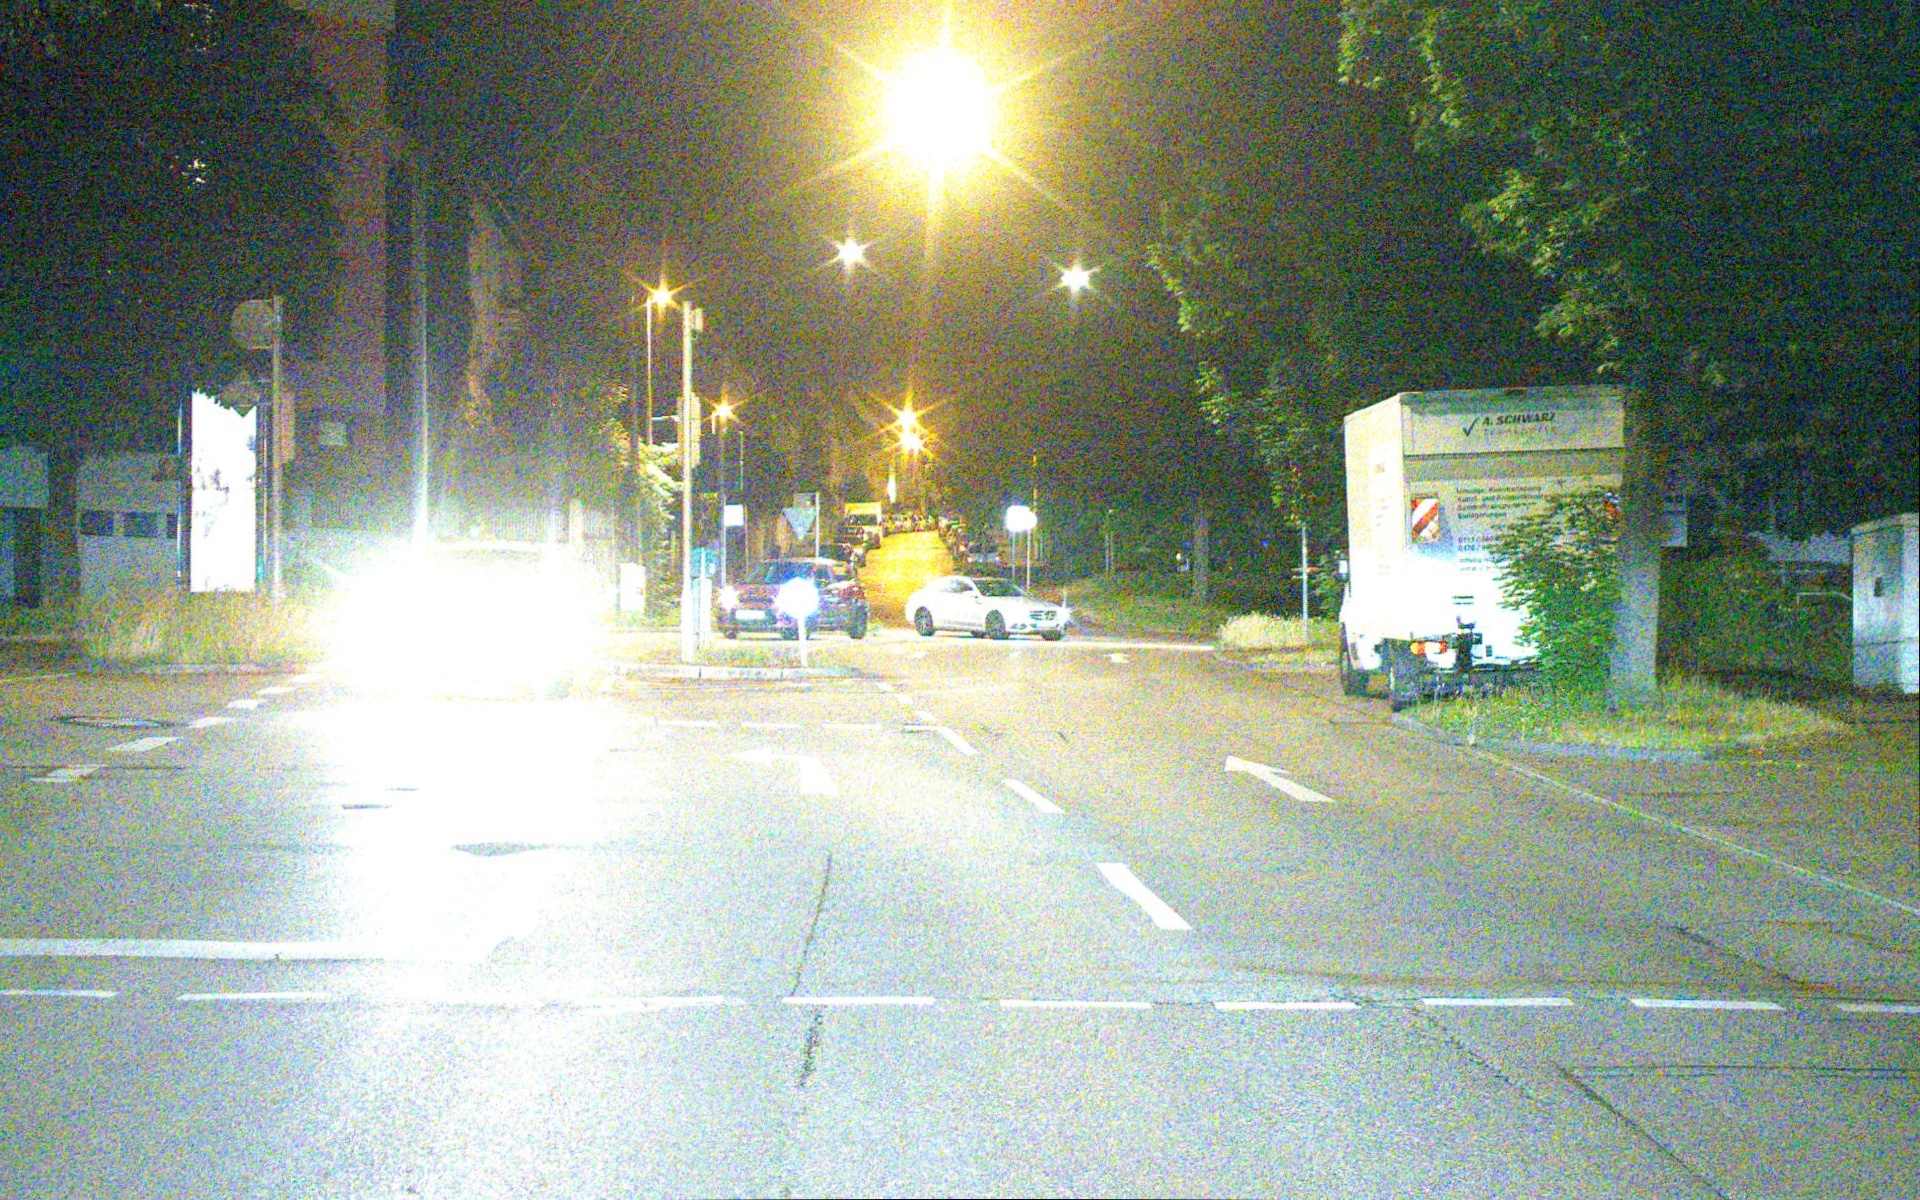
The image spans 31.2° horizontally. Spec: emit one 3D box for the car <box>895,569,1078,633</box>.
[{"bbox_3d":[0.576,0.012,79.664,1.917,1.384,4.582,0,1,-35],"label":"car"}]

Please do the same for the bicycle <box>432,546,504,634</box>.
[{"bbox_3d":[-6.574,-0.145,46.020,0.696,1.145,1.951,1,0,-1],"label":"bicycle"}]

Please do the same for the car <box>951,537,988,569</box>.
[{"bbox_3d":[0.424,-2.201,159.438,1.634,1.447,3.485,1,1,-1],"label":"car"}]

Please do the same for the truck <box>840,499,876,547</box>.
[{"bbox_3d":[-6.249,-4.694,209.736,2.086,2.838,5.832,1,1,-2],"label":"truck"}]

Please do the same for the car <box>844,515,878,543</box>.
[{"bbox_3d":[-5.402,-3.871,187.107,1.815,1.486,4.001,1,1,-2],"label":"car"}]

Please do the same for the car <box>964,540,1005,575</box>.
[{"bbox_3d":[1.001,-1.780,143.520,1.634,1.447,3.485,1,1,-1],"label":"car"}]

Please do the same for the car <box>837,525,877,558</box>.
[{"bbox_3d":[-4.819,-2.731,160.726,1.815,1.486,4.001,1,1,-2],"label":"car"}]

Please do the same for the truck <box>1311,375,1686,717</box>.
[{"bbox_3d":[5.258,-0.546,34.670,2.749,3.100,6.258,1,1,0],"label":"truck"}]

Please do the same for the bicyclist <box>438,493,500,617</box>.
[{"bbox_3d":[-6.558,-0.596,45.950,0.690,1.631,0.896,1,0,-1],"label":"bicyclist"}]

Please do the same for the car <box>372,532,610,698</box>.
[{"bbox_3d":[-4.610,0.106,34.315,1.857,1.529,4.028,1,1,-1],"label":"car"}]

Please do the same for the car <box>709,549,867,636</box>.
[{"bbox_3d":[-3.071,-0.164,61.847,1.583,1.496,3.392,1,1,21],"label":"car"}]

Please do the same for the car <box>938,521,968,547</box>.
[{"bbox_3d":[-0.399,-3.675,191.637,1.634,1.447,3.485,1,1,-1],"label":"car"}]
